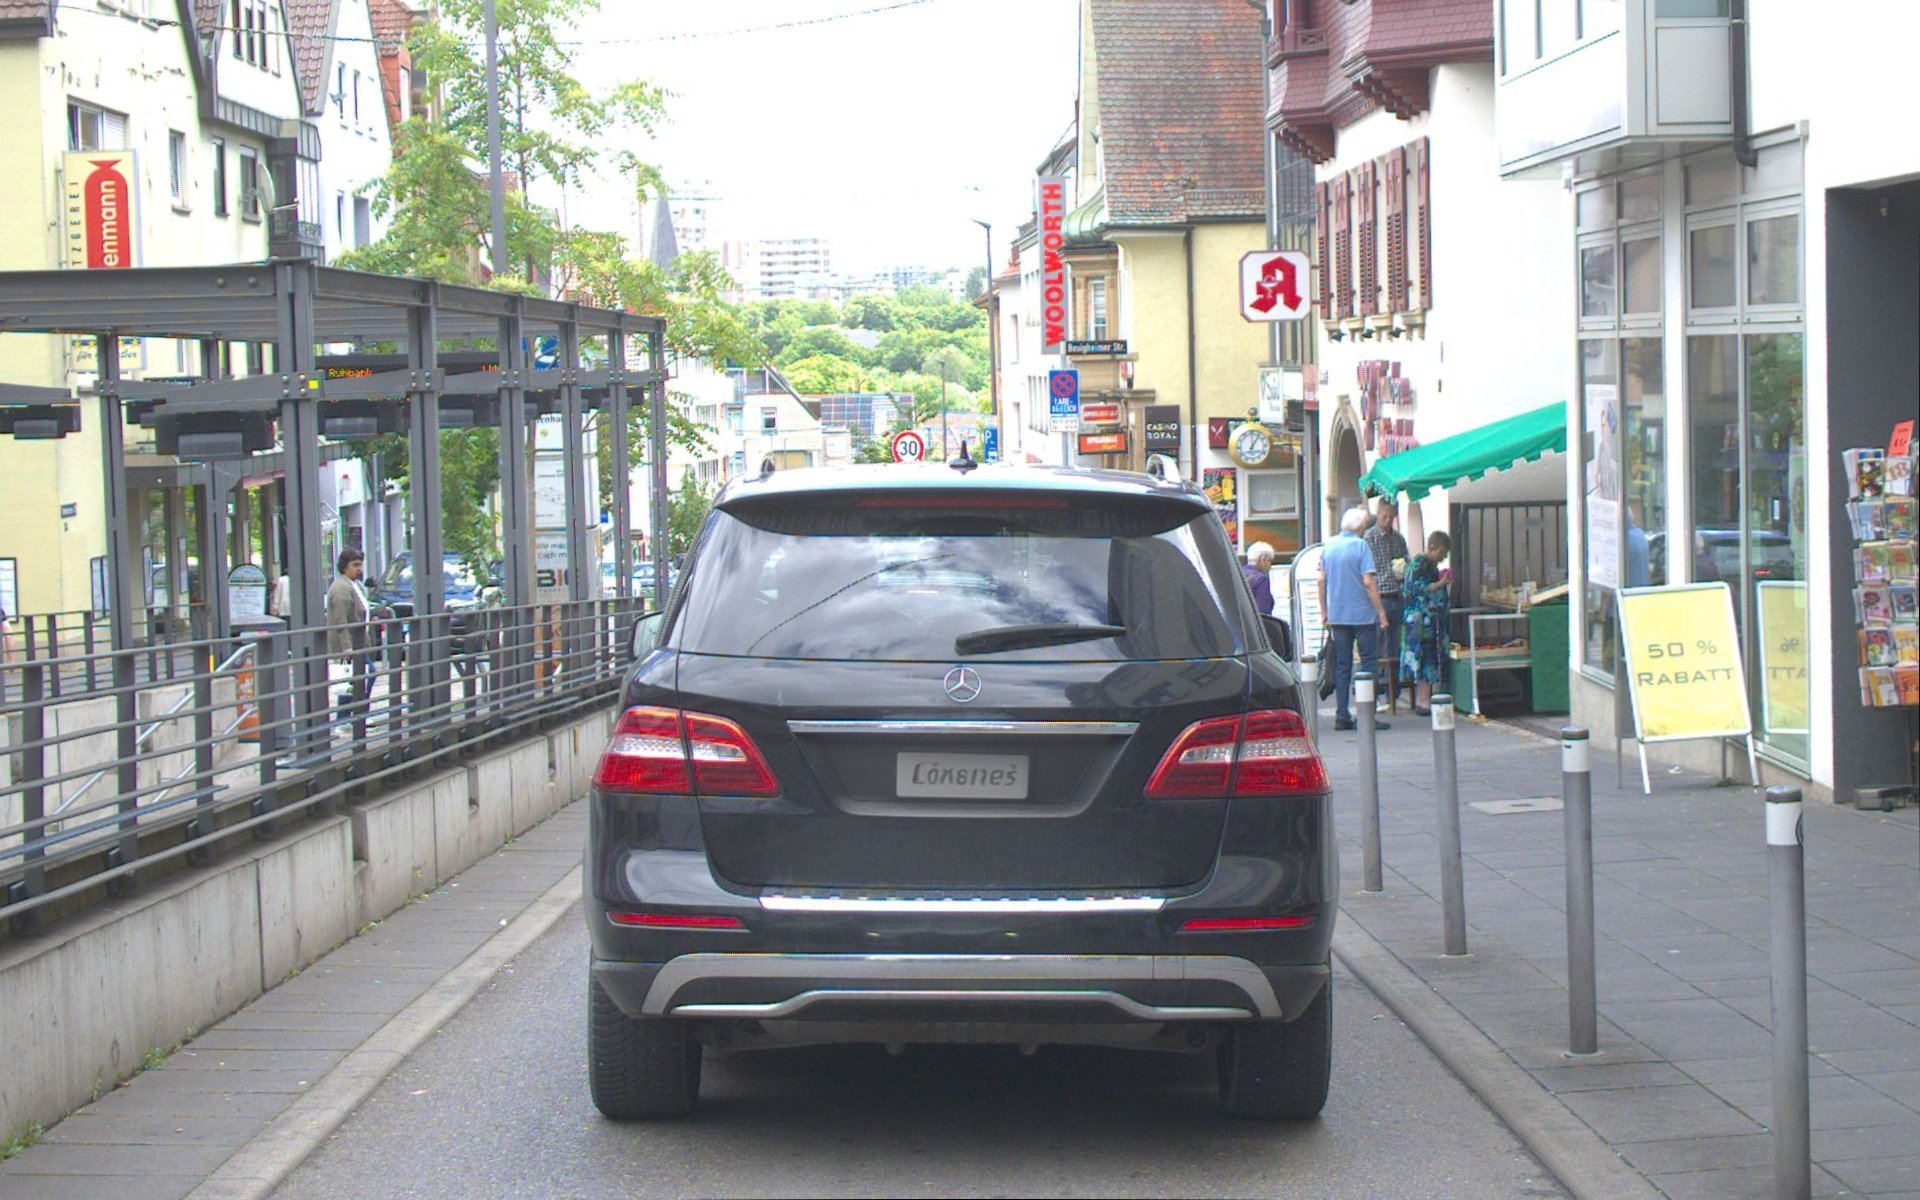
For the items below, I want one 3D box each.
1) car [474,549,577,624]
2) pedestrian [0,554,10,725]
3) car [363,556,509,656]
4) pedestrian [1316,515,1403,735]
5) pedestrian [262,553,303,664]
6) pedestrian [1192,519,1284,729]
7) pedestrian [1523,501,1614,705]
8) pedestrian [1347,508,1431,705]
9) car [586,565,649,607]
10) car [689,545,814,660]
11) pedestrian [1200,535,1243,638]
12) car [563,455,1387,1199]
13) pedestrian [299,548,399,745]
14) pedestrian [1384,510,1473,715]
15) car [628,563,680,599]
[{"bbox_3d":[-8.943,-0.295,71.042,1.660,1.485,3.748,1,1,0],"label":"car"},{"bbox_3d":[-9.779,0.390,33.926,0.625,1.683,0.679,1,1,-1],"label":"pedestrian"},{"bbox_3d":[-8.193,0.059,54.005,1.689,1.485,3.979,1,1,0],"label":"car"},{"bbox_3d":[3.176,0.195,27.341,0.542,1.720,0.528,-2,1,-7],"label":"pedestrian"},{"bbox_3d":[-10.357,0.124,52.538,0.513,1.683,0.541,1,1,-1],"label":"pedestrian"},{"bbox_3d":[2.252,0.192,27.873,0.621,1.683,0.566,1,1,-7],"label":"pedestrian"},{"bbox_3d":[5.118,0.016,28.923,0.573,1.683,0.566,-2,1,-7],"label":"pedestrian"},{"bbox_3d":[3.697,0.052,29.660,0.573,1.683,0.566,1,1,-7],"label":"pedestrian"},{"bbox_3d":[-9.336,-0.386,93.895,1.388,1.066,3.113,-2,1,0],"label":"car"},{"bbox_3d":[-3.249,0.007,54.057,1.770,1.707,4.000,1,1,-1],"label":"car"},{"bbox_3d":[4.334,-0.234,57.059,0.606,1.683,0.724,-2,1,-1],"label":"pedestrian"},{"bbox_3d":[-0.042,0.513,10.006,1.900,1.741,4.000,1,1,-2],"label":"car"},{"bbox_3d":[-5.315,0.392,29.892,0.765,1.683,0.728,0,1,-16],"label":"pedestrian"},{"bbox_3d":[3.912,0.098,28.728,0.573,1.683,0.566,-2,1,-7],"label":"pedestrian"},{"bbox_3d":[-9.874,-0.621,111.089,1.388,1.066,3.113,-2,1,0],"label":"car"}]
